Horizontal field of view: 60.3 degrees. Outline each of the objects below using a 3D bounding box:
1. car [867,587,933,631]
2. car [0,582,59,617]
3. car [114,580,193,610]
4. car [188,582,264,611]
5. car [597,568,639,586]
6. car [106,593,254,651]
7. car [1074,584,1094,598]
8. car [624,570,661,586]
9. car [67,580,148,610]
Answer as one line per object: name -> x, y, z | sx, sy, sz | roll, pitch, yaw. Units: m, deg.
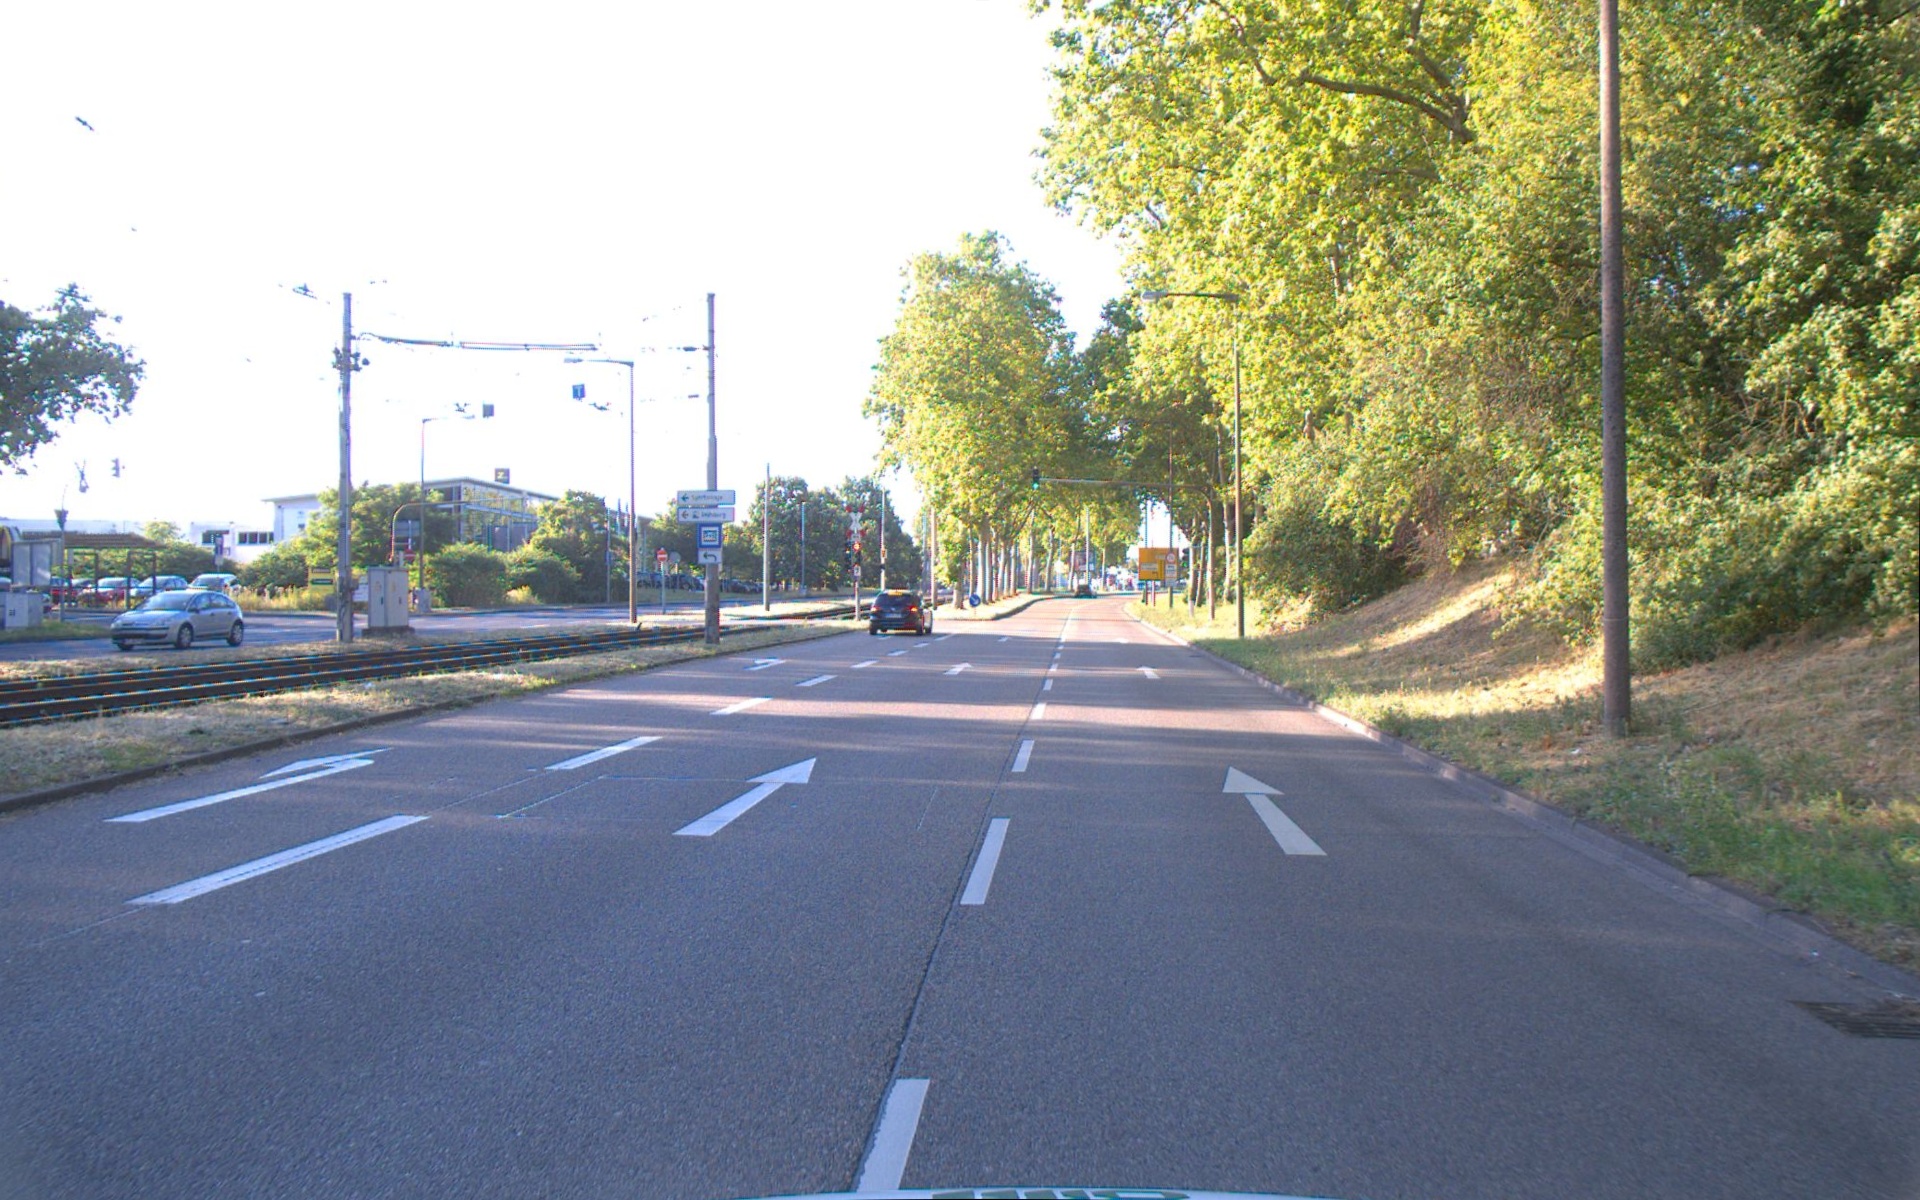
car -> -1.957, 0.281, 55.077 | 1.754, 1.427, 3.691 | 0, 0, 5
car -> -40.415, -0.056, 69.731 | 3.968, 1.411, 1.785 | 1, 0, 10
car -> -41.908, -0.245, 86.019 | 1.802, 1.467, 4.003 | 1, 0, 7
car -> -38.208, -0.185, 86.217 | 1.802, 1.467, 4.003 | 1, 0, 7
car -> -27.529, -1.846, 133.162 | 3.077, 1.416, 1.455 | 1, 0, 1
car -> -20.320, 0.537, 43.282 | 1.618, 1.440, 4.261 | 1, 0, 4
car -> 12.787, -0.920, 170.490 | 1.754, 1.427, 3.692 | 1, 0, 10
car -> -29.042, -2.027, 151.498 | 3.077, 1.416, 1.455 | 1, 0, 1
car -> -44.646, -0.251, 86.689 | 1.802, 1.467, 4.003 | 1, 0, 7
